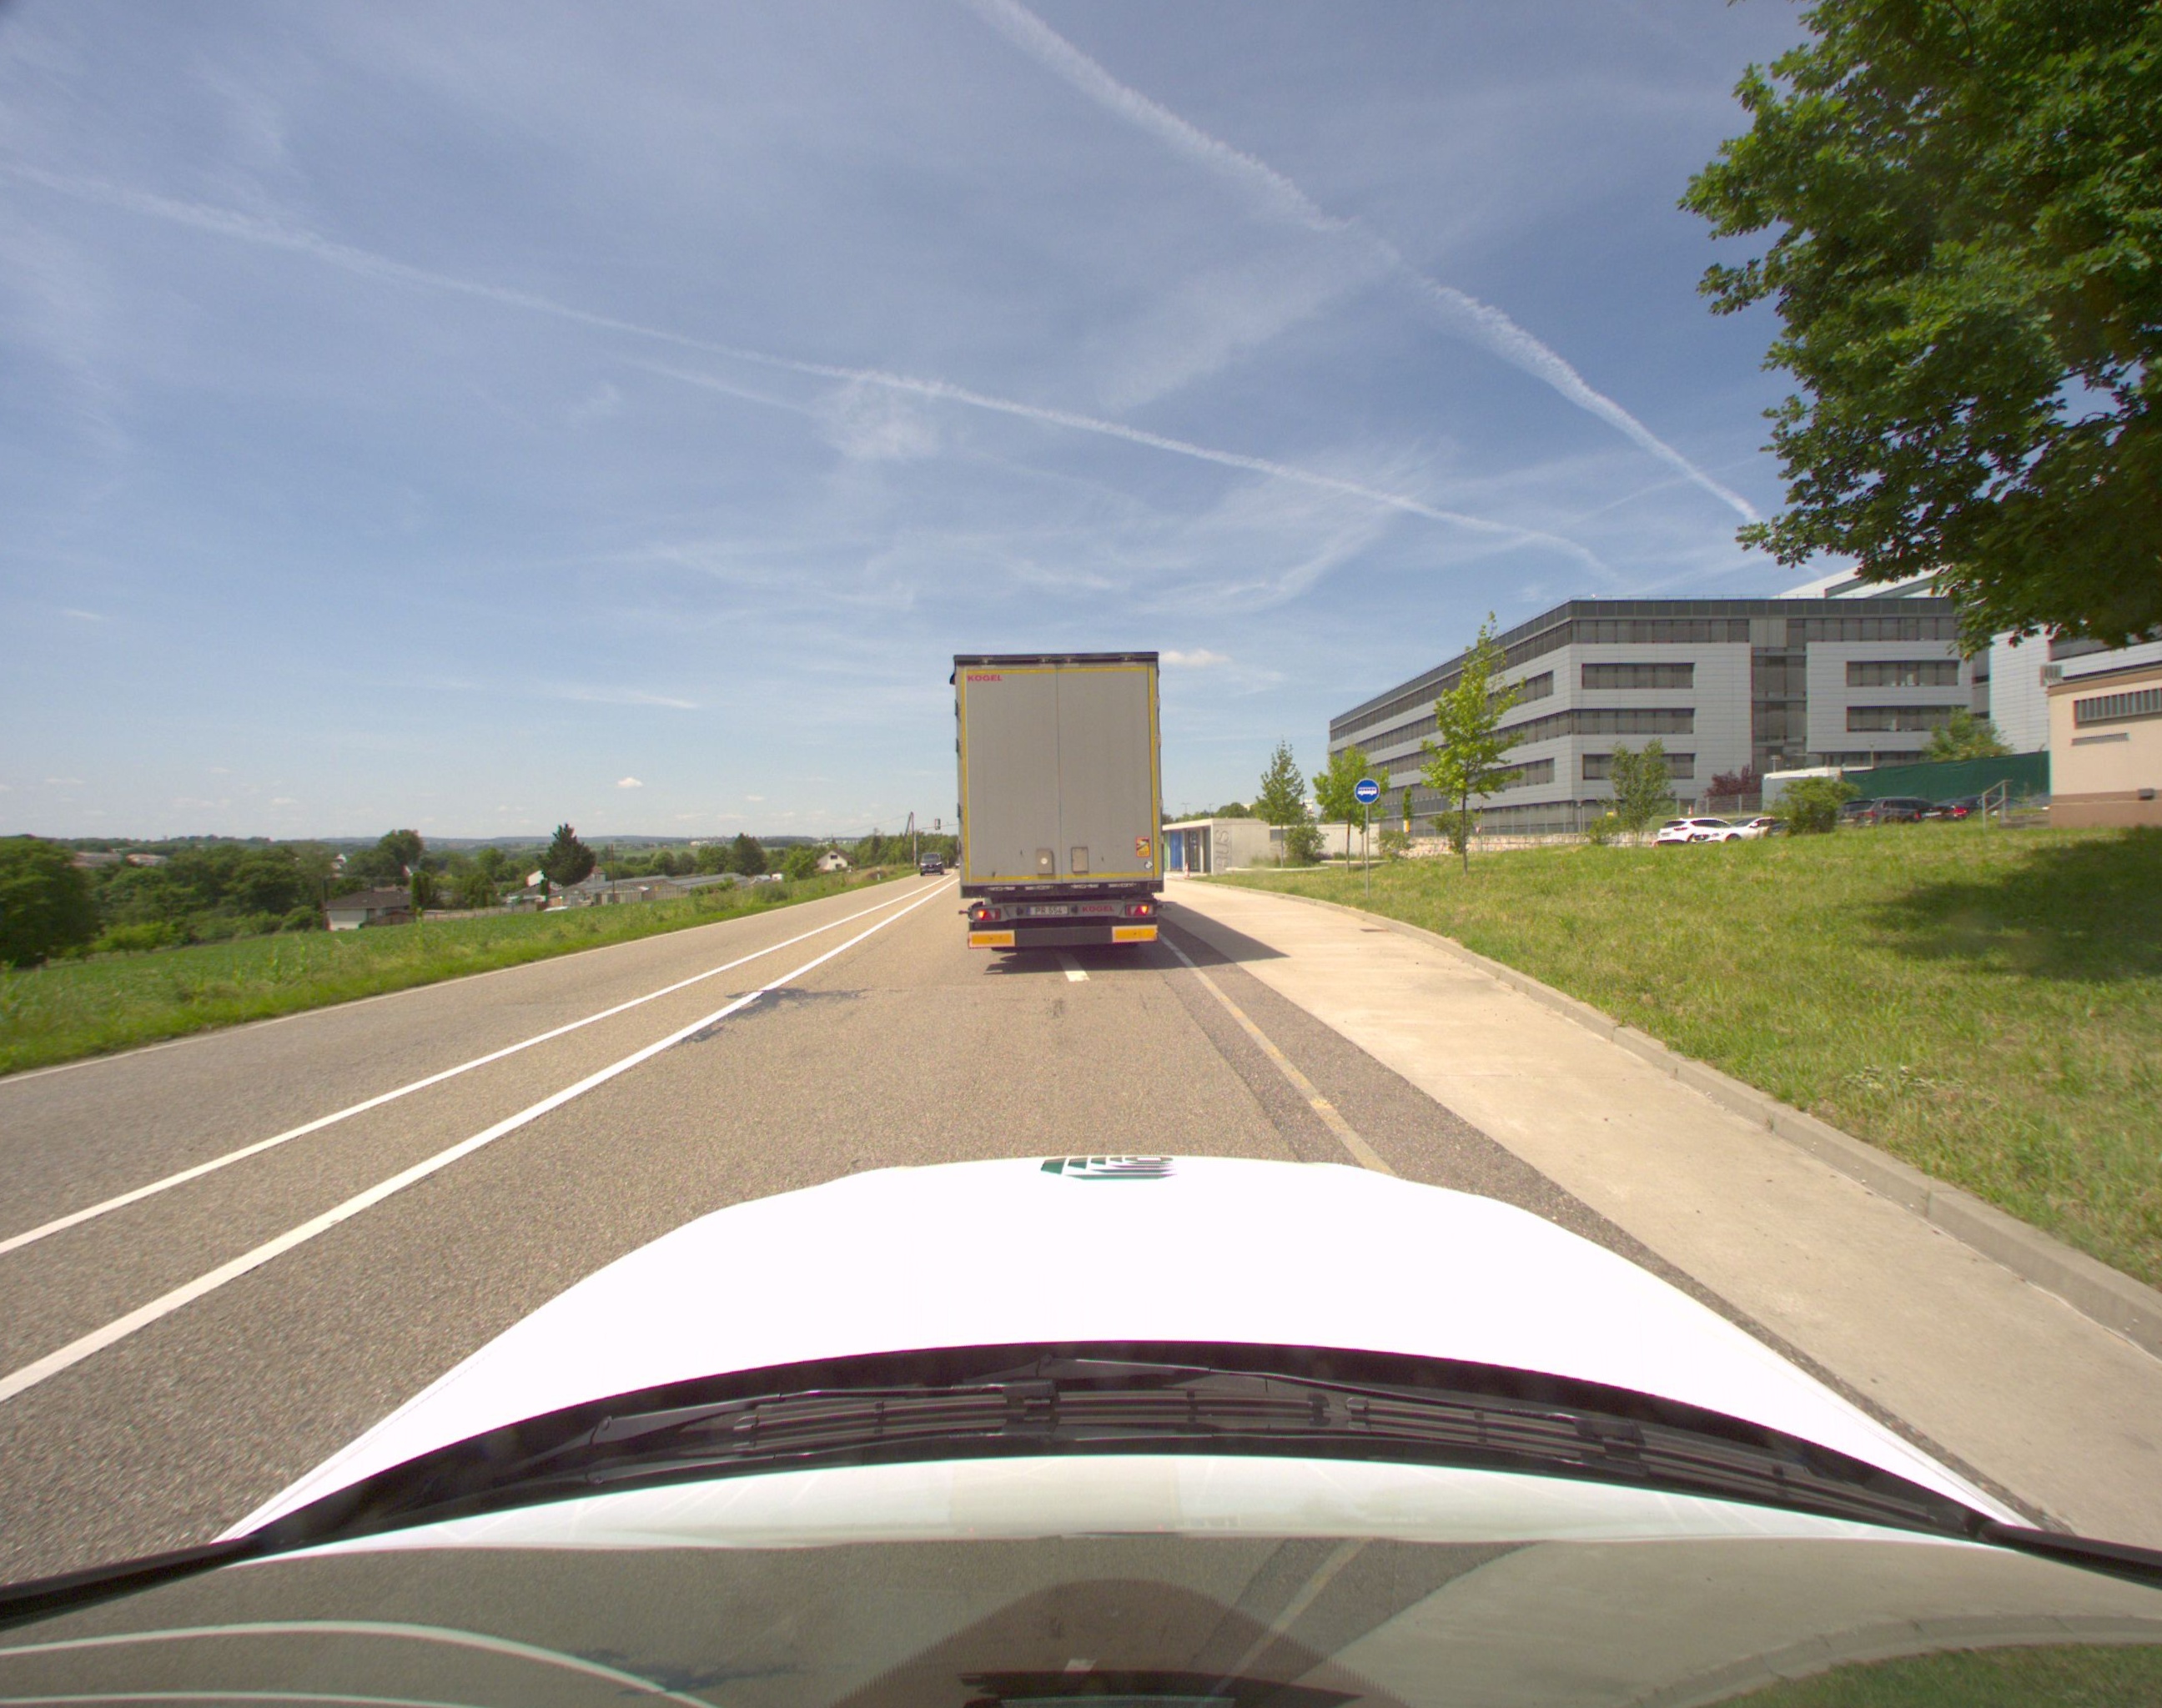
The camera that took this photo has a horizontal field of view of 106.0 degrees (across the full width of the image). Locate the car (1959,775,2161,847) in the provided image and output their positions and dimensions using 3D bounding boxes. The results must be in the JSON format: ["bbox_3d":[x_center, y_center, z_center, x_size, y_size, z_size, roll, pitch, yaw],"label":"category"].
[{"bbox_3d":[30.800,-1.310,25.577,4.344,1.814,1.976,-5,-1,-3],"label":"car"}]

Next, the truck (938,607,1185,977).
[{"bbox_3d":[-0.393,-0.763,14.192,2.900,4.410,8.852,-1,0,-2],"label":"truck"}]

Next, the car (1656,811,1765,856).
[{"bbox_3d":[30.772,-0.997,39.889,3.978,1.814,1.754,-5,-1,-3],"label":"car"}]

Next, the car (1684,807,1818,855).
[{"bbox_3d":[30.629,-1.015,37.325,4.540,1.766,1.976,-5,-1,-3],"label":"car"}]

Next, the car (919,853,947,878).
[{"bbox_3d":[-13.118,0.997,72.466,1.991,1.978,5.268,-3,0,-6],"label":"car"}]

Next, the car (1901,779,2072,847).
[{"bbox_3d":[31.095,-1.369,28.049,3.978,1.921,1.754,-5,-1,-3],"label":"car"}]

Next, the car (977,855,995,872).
[{"bbox_3d":[-11.347,1.111,97.679,1.992,1.950,4.492,-3,0,-7],"label":"car"}]

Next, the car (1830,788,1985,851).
[{"bbox_3d":[30.634,-1.250,30.247,3.978,1.921,1.754,-5,-1,-3],"label":"car"}]

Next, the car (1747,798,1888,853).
[{"bbox_3d":[30.107,-1.136,33.375,3.978,1.814,1.976,-5,-1,-3],"label":"car"}]
